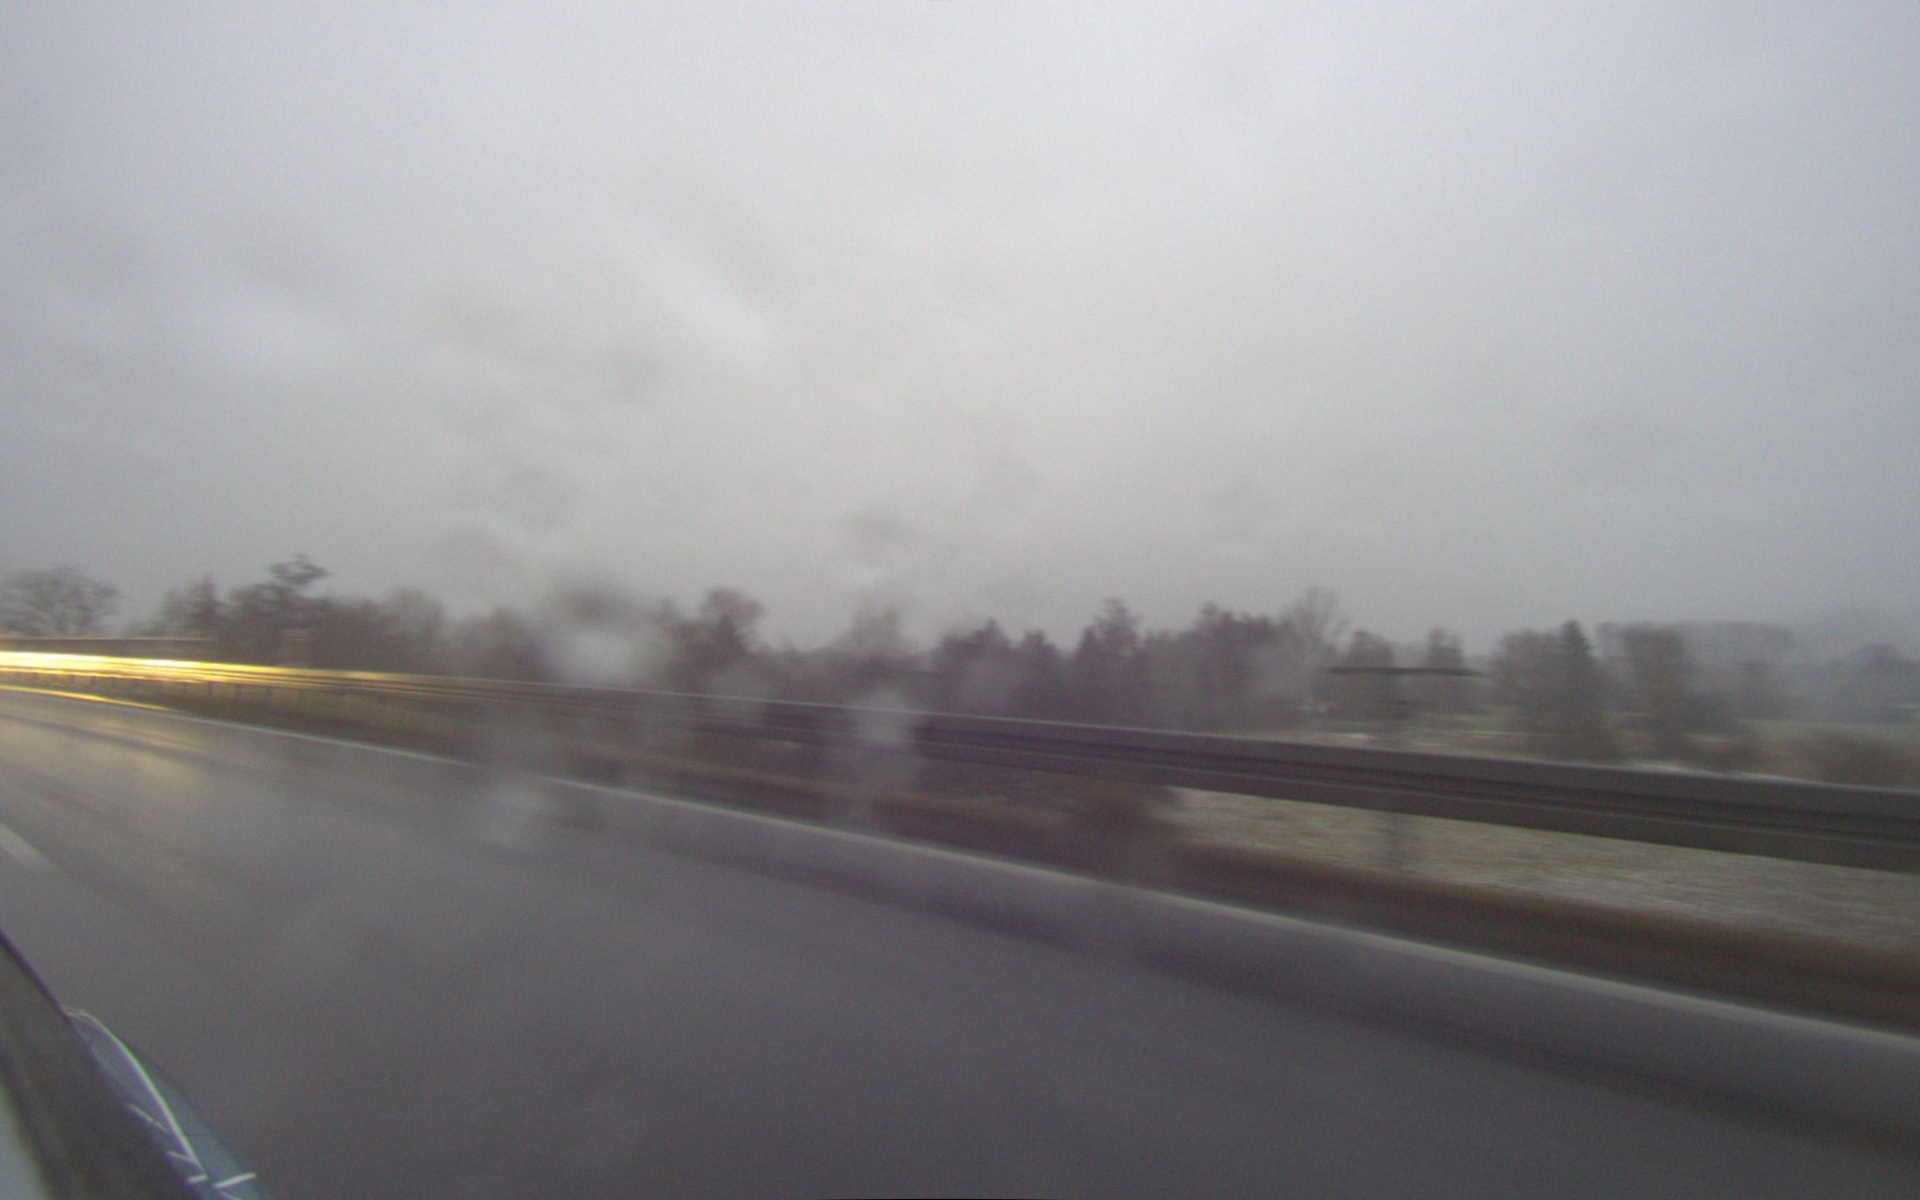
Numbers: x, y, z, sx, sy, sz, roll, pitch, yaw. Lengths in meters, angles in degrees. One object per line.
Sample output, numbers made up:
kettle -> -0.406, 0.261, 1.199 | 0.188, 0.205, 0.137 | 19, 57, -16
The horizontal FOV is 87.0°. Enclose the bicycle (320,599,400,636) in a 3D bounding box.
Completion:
bicycle -> -34.110, 1.005, 57.525 | 3.974, 2.029, 1.984 | -1, -1, 23
